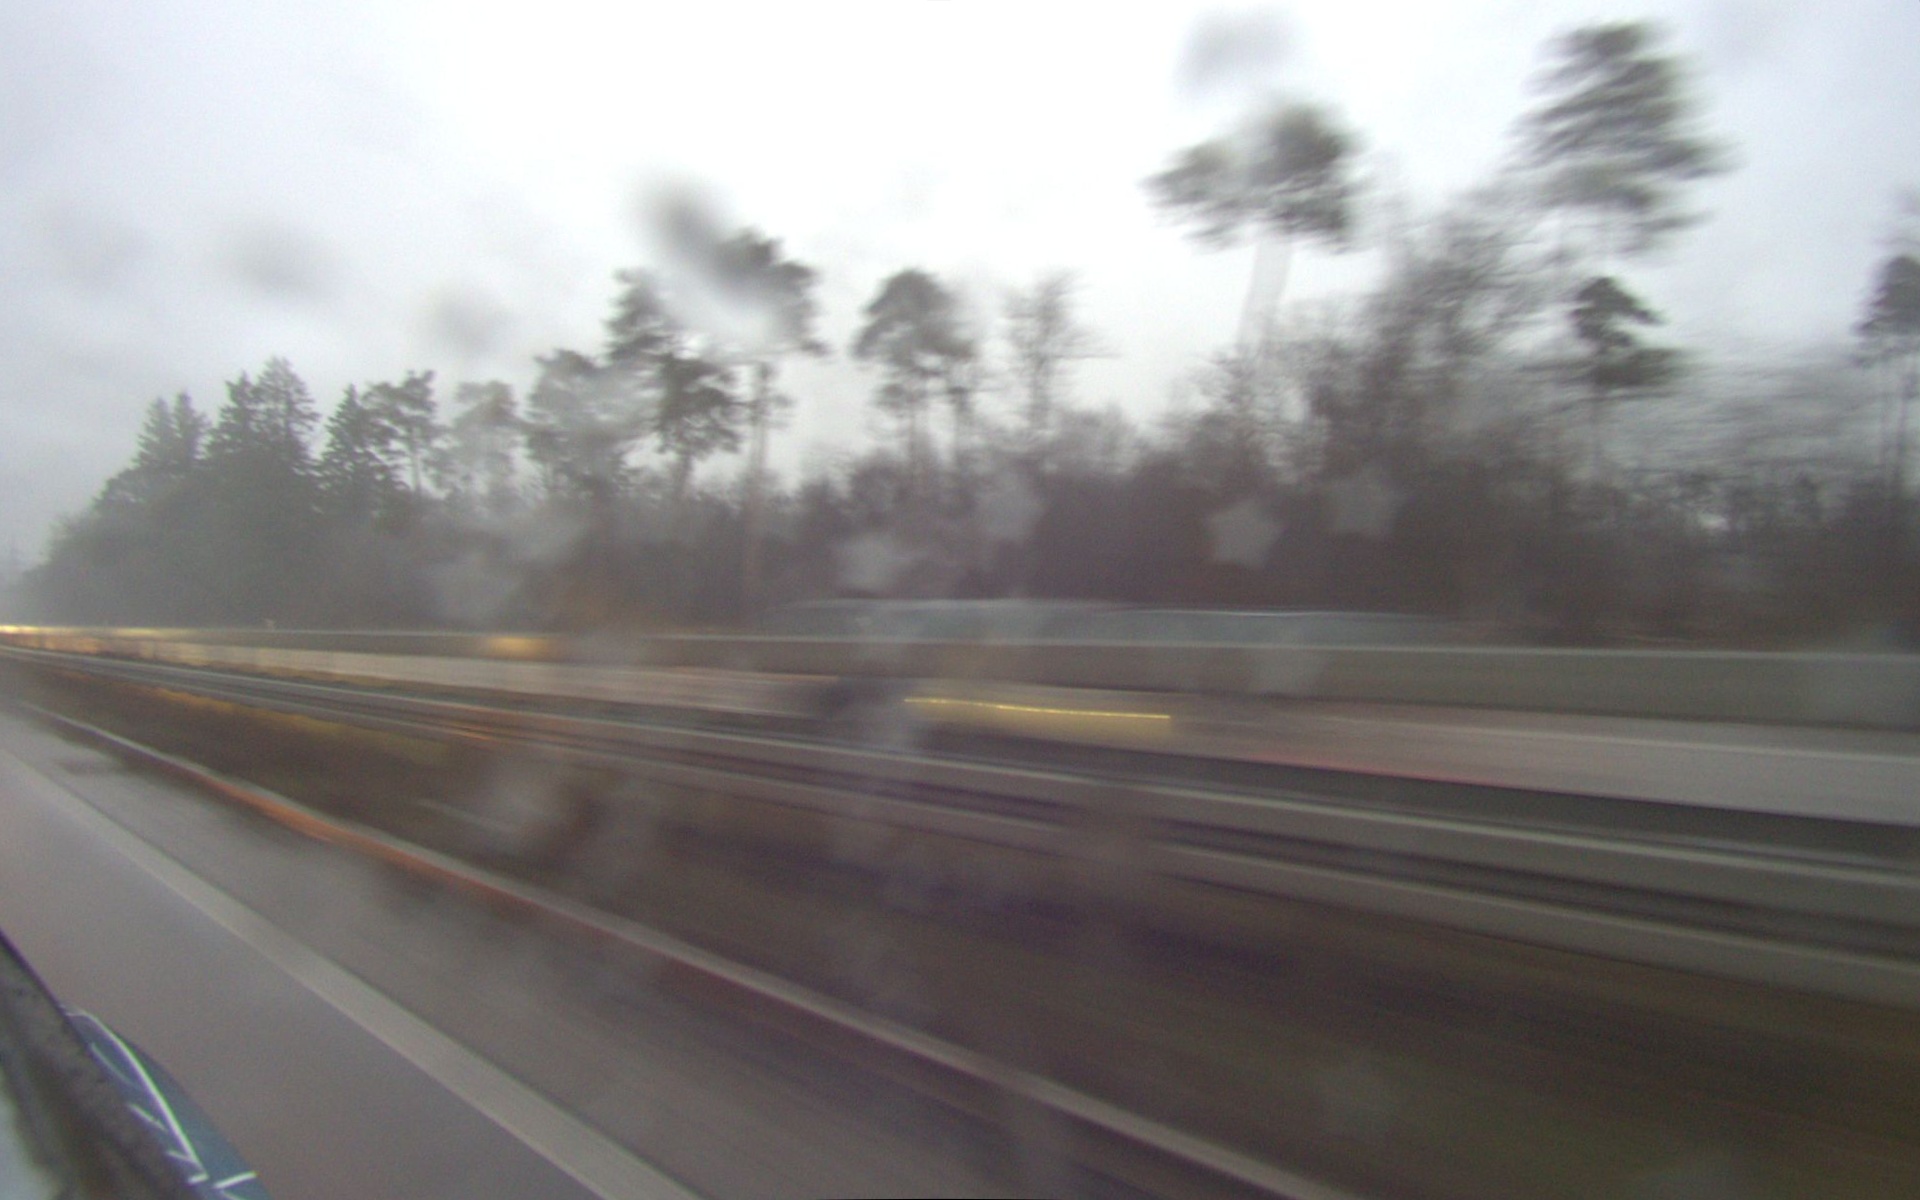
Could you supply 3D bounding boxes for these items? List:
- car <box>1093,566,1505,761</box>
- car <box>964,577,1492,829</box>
[{"bbox_3d":[3.733,0.634,11.530,3.999,1.820,1.962,-2,-1,42],"label":"car"},{"bbox_3d":[1.930,0.667,7.964,3.773,1.540,1.414,-1,-1,40],"label":"car"}]
